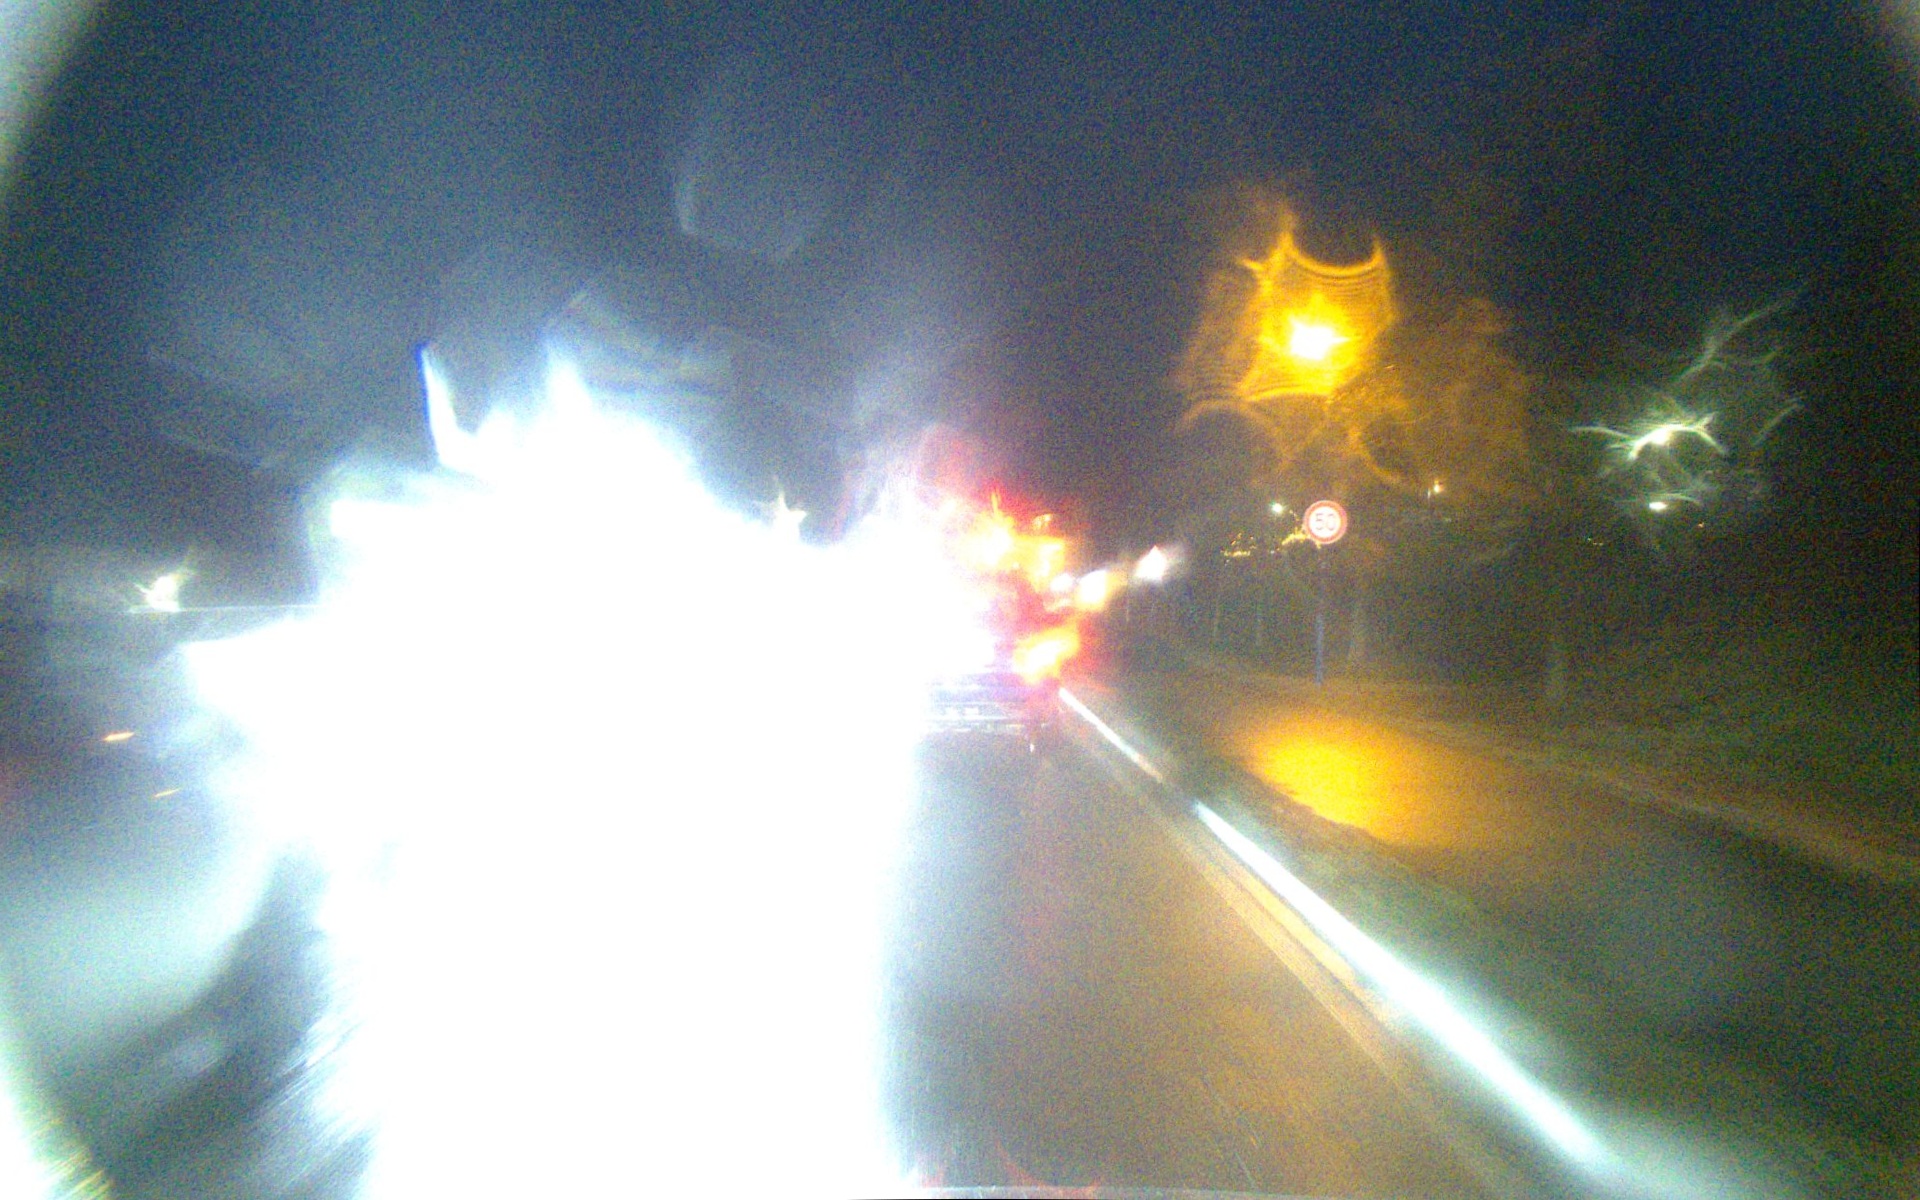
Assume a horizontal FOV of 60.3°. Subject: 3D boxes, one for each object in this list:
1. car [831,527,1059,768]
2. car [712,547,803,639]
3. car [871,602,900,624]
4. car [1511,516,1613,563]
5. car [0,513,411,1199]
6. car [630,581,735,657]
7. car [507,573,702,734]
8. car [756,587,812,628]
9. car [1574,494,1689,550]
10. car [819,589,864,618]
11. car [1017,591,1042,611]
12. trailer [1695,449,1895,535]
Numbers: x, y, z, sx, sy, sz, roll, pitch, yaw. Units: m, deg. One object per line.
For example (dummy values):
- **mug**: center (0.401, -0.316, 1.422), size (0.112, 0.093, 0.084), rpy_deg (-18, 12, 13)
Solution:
- **car**: center (-0.183, 0.386, 16.063), size (1.903, 2.006, 4.217), rpy_deg (1, 0, -2)
- **car**: center (-6.404, -0.234, 53.036), size (2.079, 2.755, 6.240), rpy_deg (1, 0, 0)
- **car**: center (-5.132, 0.880, 114.624), size (1.879, 1.469, 4.545), rpy_deg (1, 0, -1)
- **car**: center (21.737, -2.158, 59.874), size (1.585, 1.498, 3.986), rpy_deg (1, 0, -13)
- **car**: center (-2.929, 0.607, 3.761), size (1.806, 1.602, 4.597), rpy_deg (1, 0, 0)
- **car**: center (-6.290, 0.401, 37.890), size (1.685, 1.616, 4.312), rpy_deg (1, 0, 0)
- **car**: center (-4.040, 0.544, 19.405), size (1.770, 1.658, 4.410), rpy_deg (1, 0, -6)
- **car**: center (-6.968, 0.284, 65.805), size (1.840, 1.564, 3.987), rpy_deg (1, 0, 0)
- **car**: center (22.553, -2.597, 55.689), size (1.585, 1.668, 3.986), rpy_deg (1, 0, -13)
- **car**: center (-6.241, 0.169, 87.460), size (2.035, 1.474, 4.991), rpy_deg (1, 0, -1)
- **car**: center (5.182, 0.105, 123.200), size (1.628, 1.475, 4.052), rpy_deg (0, -1, 6)
- **trailer**: center (24.209, -3.069, 48.250), size (2.186, 2.108, 5.705), rpy_deg (0, 0, -11)
